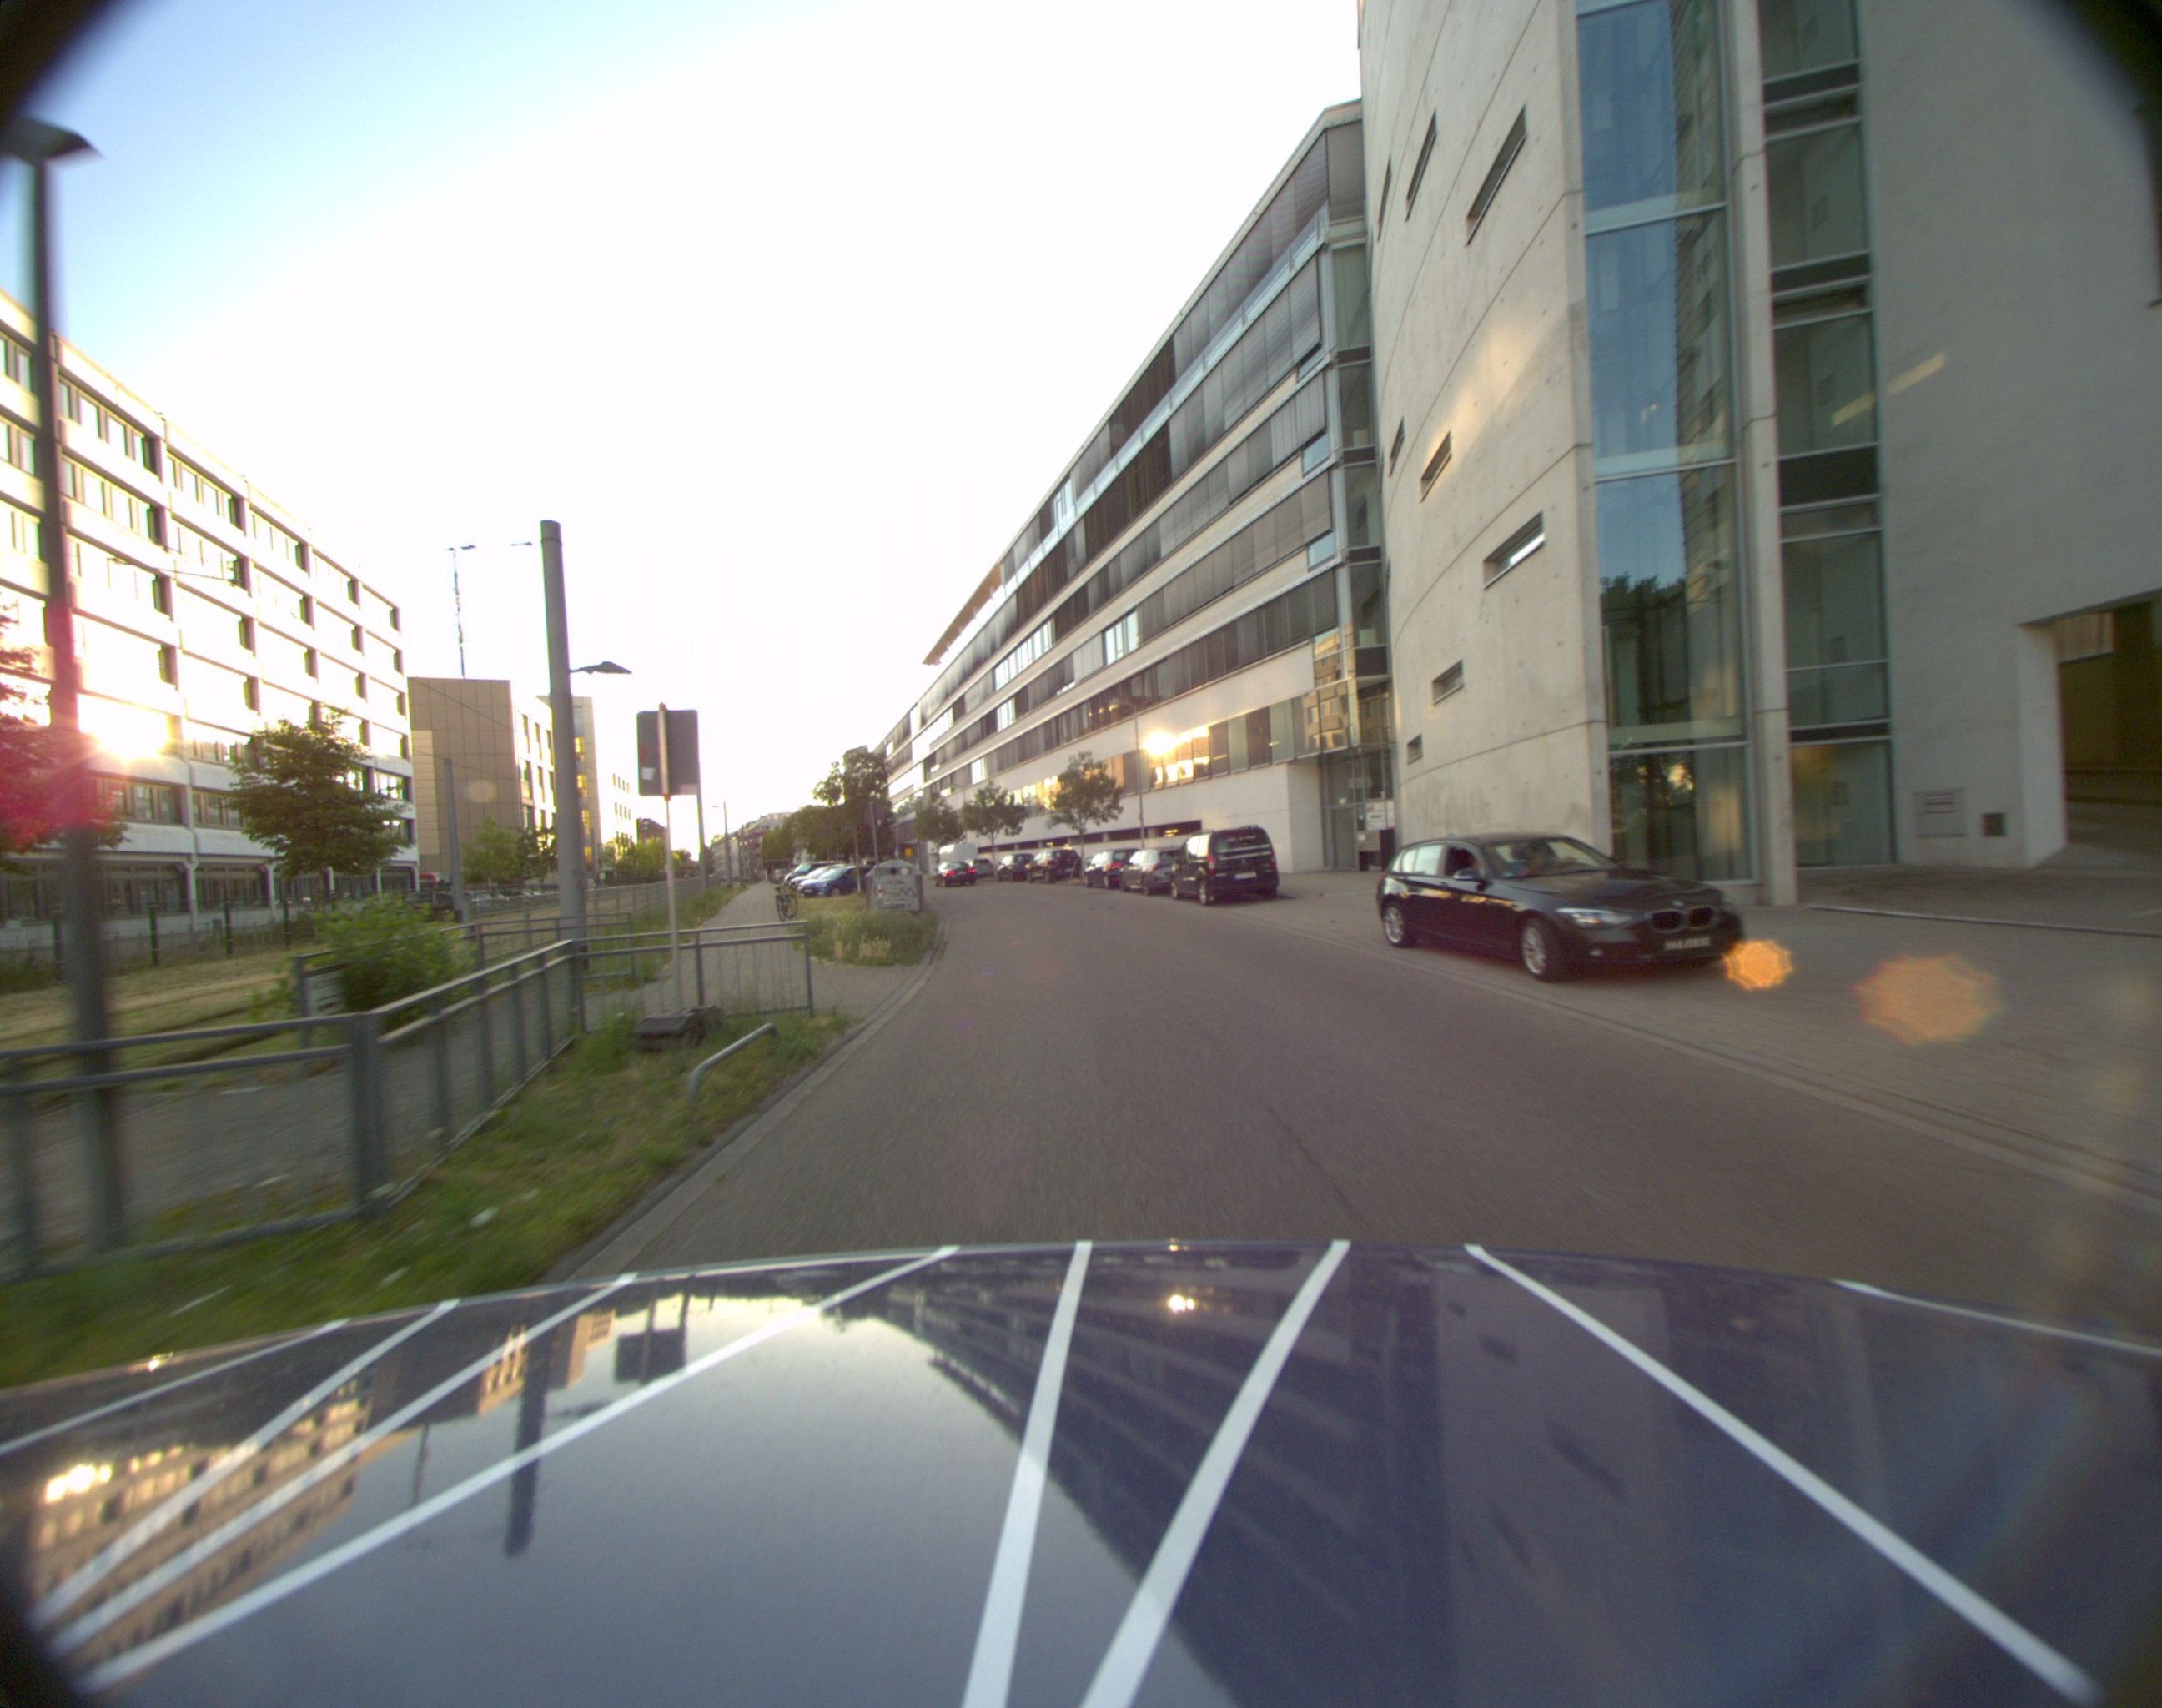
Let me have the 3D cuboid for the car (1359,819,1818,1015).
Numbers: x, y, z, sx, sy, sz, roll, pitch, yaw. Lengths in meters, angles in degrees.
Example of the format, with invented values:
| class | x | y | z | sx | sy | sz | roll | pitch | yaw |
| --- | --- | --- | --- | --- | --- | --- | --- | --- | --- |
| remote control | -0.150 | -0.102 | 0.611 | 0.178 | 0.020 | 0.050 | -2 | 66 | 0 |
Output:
| class | x | y | z | sx | sy | sz | roll | pitch | yaw |
| --- | --- | --- | --- | --- | --- | --- | --- | --- | --- |
| car | 4.985 | 0.518 | 8.365 | 1.858 | 1.433 | 4.226 | -6 | 0 | -5 |

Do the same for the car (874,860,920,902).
| class | x | y | z | sx | sy | sz | roll | pitch | yaw |
| --- | --- | --- | --- | --- | --- | --- | --- | --- | --- |
| car | -7.452 | 1.059 | 30.594 | 1.632 | 1.503 | 3.413 | -3 | 0 | -16 |

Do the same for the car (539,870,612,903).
| class | x | y | z | sx | sy | sz | roll | pitch | yaw |
| --- | --- | --- | --- | --- | --- | --- | --- | --- | --- |
| car | -36.588 | 2.331 | 55.081 | 4.004 | 2.002 | 1.996 | -4 | 1 | -24 |

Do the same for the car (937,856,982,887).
| class | x | y | z | sx | sy | sz | roll | pitch | yaw |
| --- | --- | --- | --- | --- | --- | --- | --- | --- | --- |
| car | -7.166 | 0.999 | 44.397 | 1.861 | 1.489 | 4.668 | -6 | 1 | -17 |

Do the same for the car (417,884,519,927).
| class | x | y | z | sx | sy | sz | roll | pitch | yaw |
| --- | --- | --- | --- | --- | --- | --- | --- | --- | --- |
| car | -34.588 | 2.849 | 43.041 | 4.004 | 2.002 | 1.996 | -4 | 1 | -24 |

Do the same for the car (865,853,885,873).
| class | x | y | z | sx | sy | sz | roll | pitch | yaw |
| --- | --- | --- | --- | --- | --- | --- | --- | --- | --- |
| car | -28.388 | 1.301 | 104.660 | 2.002 | 2.570 | 3.993 | -3 | 0 | -24 |

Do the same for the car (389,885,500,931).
| class | x | y | z | sx | sy | sz | roll | pitch | yaw |
| --- | --- | --- | --- | --- | --- | --- | --- | --- | --- |
| car | -33.665 | 2.794 | 40.314 | 4.004 | 2.002 | 1.996 | -4 | 1 | -24 |

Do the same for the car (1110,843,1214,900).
| class | x | y | z | sx | sy | sz | roll | pitch | yaw |
| --- | --- | --- | --- | --- | --- | --- | --- | --- | --- |
| car | 2.472 | 0.530 | 24.433 | 1.867 | 1.468 | 4.515 | -6 | 1 | -13 |

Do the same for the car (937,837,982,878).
| class | x | y | z | sx | sy | sz | roll | pitch | yaw |
| --- | --- | --- | --- | --- | --- | --- | --- | --- | --- |
| car | -9.180 | 0.293 | 56.946 | 2.007 | 2.859 | 6.245 | -3 | 0 | -21 |

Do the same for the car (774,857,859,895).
| class | x | y | z | sx | sy | sz | roll | pitch | yaw |
| --- | --- | --- | --- | --- | --- | --- | --- | --- | --- |
| car | -14.177 | 1.138 | 40.913 | 1.713 | 1.746 | 4.007 | -3 | 0 | 33 |

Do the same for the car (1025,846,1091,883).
| class | x | y | z | sx | sy | sz | roll | pitch | yaw |
| --- | --- | --- | --- | --- | --- | --- | --- | --- | --- |
| car | -1.205 | 0.516 | 37.548 | 1.799 | 1.676 | 3.992 | -3 | 0 | -24 |

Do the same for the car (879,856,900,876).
| class | x | y | z | sx | sy | sz | roll | pitch | yaw |
| --- | --- | --- | --- | --- | --- | --- | --- | --- | --- |
| car | -22.936 | 1.447 | 90.820 | 2.001 | 2.000 | 3.997 | -3 | -3 | -19 |

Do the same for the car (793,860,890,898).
| class | x | y | z | sx | sy | sz | roll | pitch | yaw |
| --- | --- | --- | --- | --- | --- | --- | --- | --- | --- |
| car | -10.819 | 1.107 | 34.629 | 1.714 | 1.368 | 4.007 | -3 | 0 | 30 |

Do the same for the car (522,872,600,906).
| class | x | y | z | sx | sy | sz | roll | pitch | yaw |
| --- | --- | --- | --- | --- | --- | --- | --- | --- | --- |
| car | -35.757 | 2.384 | 52.394 | 4.004 | 2.002 | 1.996 | -4 | 1 | -24 |

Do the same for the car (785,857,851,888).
| class | x | y | z | sx | sy | sz | roll | pitch | yaw |
| --- | --- | --- | --- | --- | --- | --- | --- | --- | --- |
| car | -18.793 | 1.307 | 54.475 | 1.713 | 1.948 | 4.180 | -3 | 0 | 33 |

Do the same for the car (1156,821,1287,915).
| class | x | y | z | sx | sy | sz | roll | pitch | yaw |
| --- | --- | --- | --- | --- | --- | --- | --- | --- | --- |
| car | 3.449 | 0.325 | 19.626 | 1.895 | 1.961 | 4.515 | -6 | 0 | -7 |

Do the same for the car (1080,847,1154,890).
| class | x | y | z | sx | sy | sz | roll | pitch | yaw |
| --- | --- | --- | --- | --- | --- | --- | --- | --- | --- |
| car | 1.299 | 0.539 | 29.207 | 1.654 | 1.468 | 3.761 | -3 | 0 | -16 |

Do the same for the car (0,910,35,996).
| class | x | y | z | sx | sy | sz | roll | pitch | yaw |
| --- | --- | --- | --- | --- | --- | --- | --- | --- | --- |
| car | -22.134 | 2.008 | 13.337 | 4.003 | 1.584 | 1.814 | -4 | 1 | -21 |

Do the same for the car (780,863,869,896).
| class | x | y | z | sx | sy | sz | roll | pitch | yaw |
| --- | --- | --- | --- | --- | --- | --- | --- | --- | --- |
| car | -12.816 | 1.252 | 38.194 | 1.714 | 1.368 | 4.007 | -3 | 0 | 30 |

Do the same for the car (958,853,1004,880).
| class | x | y | z | sx | sy | sz | roll | pitch | yaw |
| --- | --- | --- | --- | --- | --- | --- | --- | --- | --- |
| car | -6.816 | 0.841 | 51.464 | 1.800 | 1.692 | 3.992 | -2 | 0 | -27 |

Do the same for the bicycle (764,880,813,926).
| class | x | y | z | sx | sy | sz | roll | pitch | yaw |
| --- | --- | --- | --- | --- | --- | --- | --- | --- | --- |
| bicycle | -8.105 | 1.341 | 21.146 | 0.542 | 1.128 | 1.925 | -4 | 0 | 0 |

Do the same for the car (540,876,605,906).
| class | x | y | z | sx | sy | sz | roll | pitch | yaw |
| --- | --- | --- | --- | --- | --- | --- | --- | --- | --- |
| car | -40.954 | 2.959 | 61.299 | 4.004 | 2.002 | 1.996 | -4 | 1 | -24 |

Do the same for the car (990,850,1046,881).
| class | x | y | z | sx | sy | sz | roll | pitch | yaw |
| --- | --- | --- | --- | --- | --- | --- | --- | --- | --- |
| car | -3.643 | 0.662 | 43.456 | 1.799 | 1.542 | 3.993 | -6 | 1 | -24 |

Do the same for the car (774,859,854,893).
| class | x | y | z | sx | sy | sz | roll | pitch | yaw |
| --- | --- | --- | --- | --- | --- | --- | --- | --- | --- |
| car | -15.193 | 1.235 | 43.387 | 1.713 | 1.634 | 4.007 | -3 | 0 | 33 |
